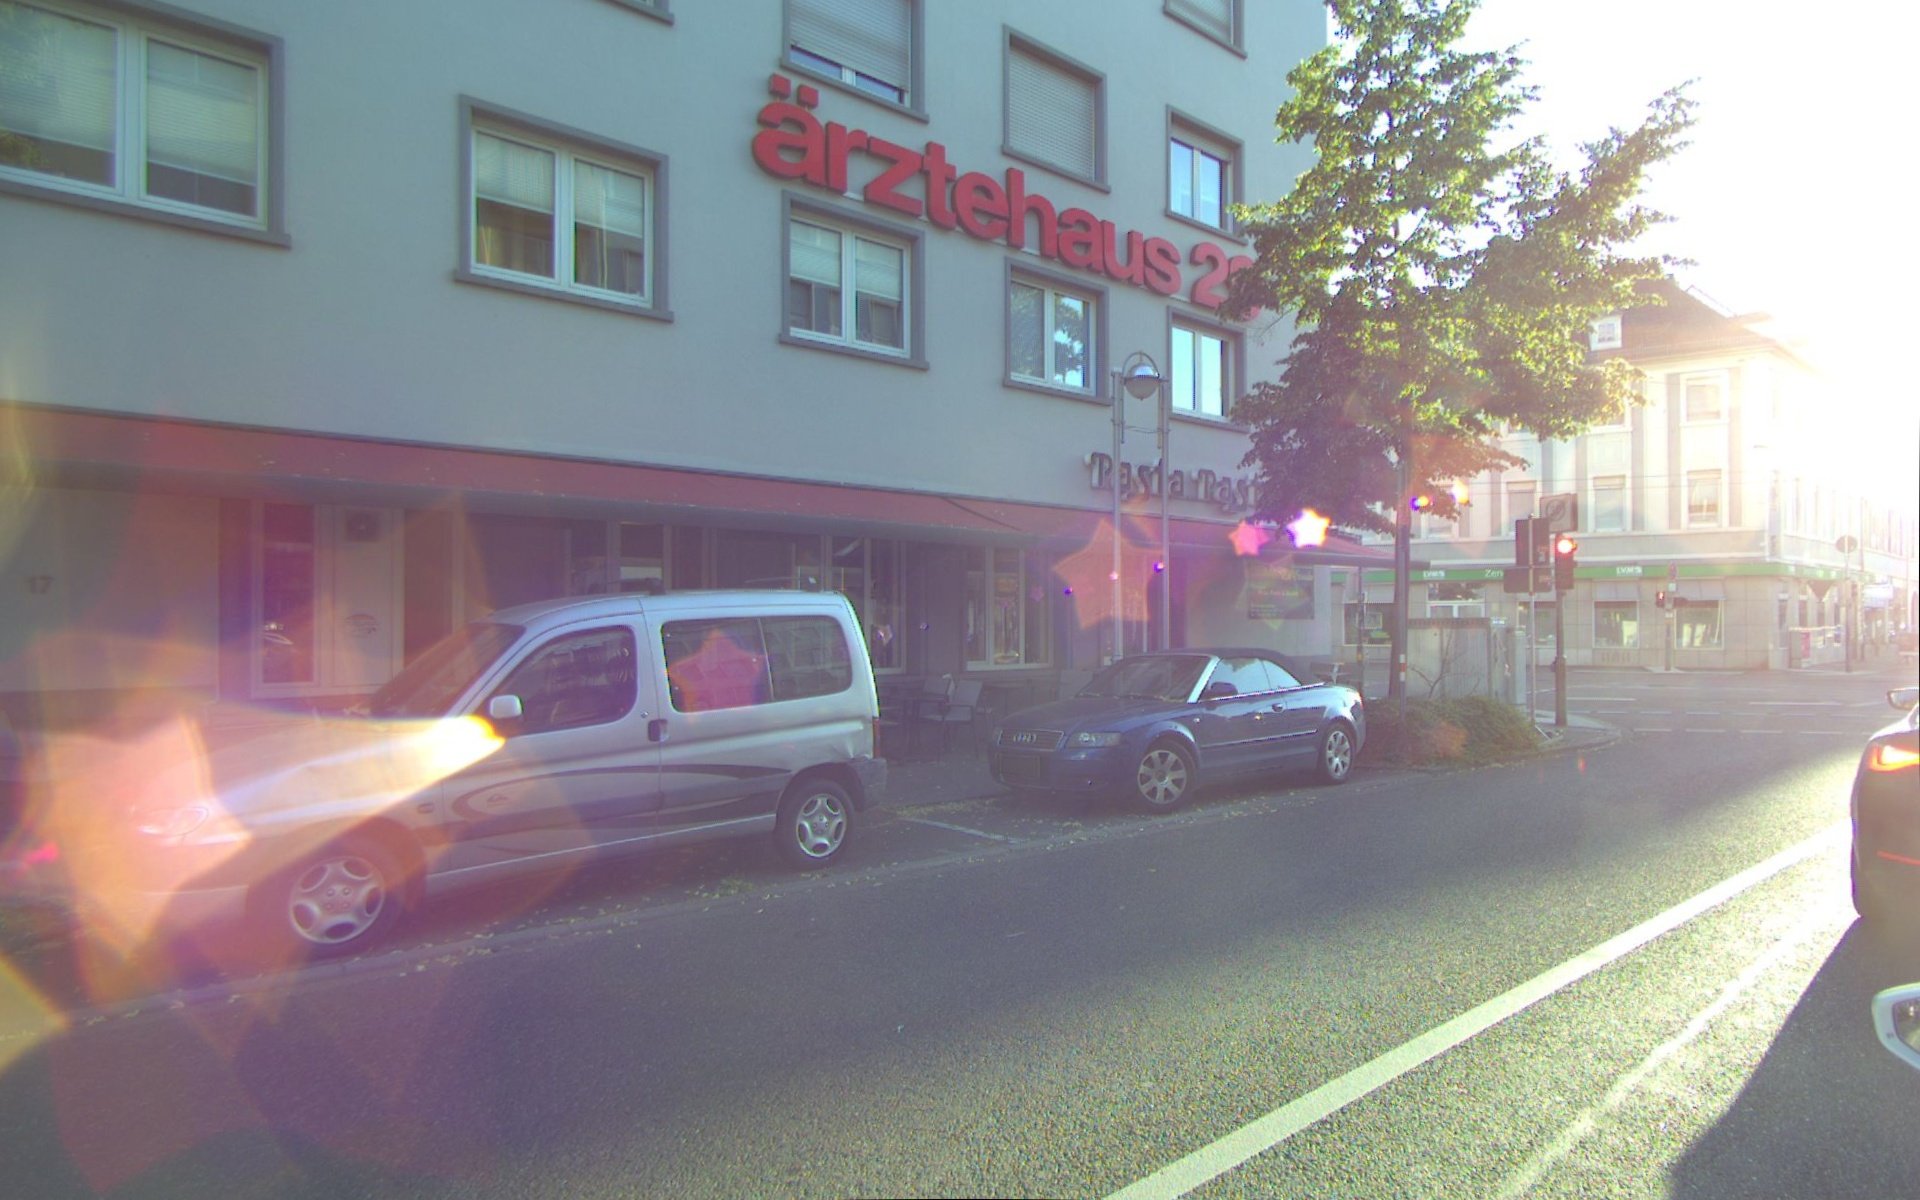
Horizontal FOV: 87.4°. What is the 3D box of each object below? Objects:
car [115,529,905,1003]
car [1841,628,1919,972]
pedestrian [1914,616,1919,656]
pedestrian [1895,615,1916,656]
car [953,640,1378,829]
[{"bbox_3d":[-2.425,0.752,6.032,4.022,1.912,1.655,2,-4,-41],"label":"car"},{"bbox_3d":[6.060,0.894,5.107,4.188,1.447,1.723,1,-1,-39],"label":"car"},{"bbox_3d":[46.217,1.710,48.074,0.606,1.901,0.677,1,0,29],"label":"pedestrian"},{"bbox_3d":[45.355,1.691,48.172,0.626,1.901,0.638,1,0,-38],"label":"pedestrian"},{"bbox_3d":[2.117,1.125,9.695,4.244,1.434,1.710,2,-4,-39],"label":"car"}]
